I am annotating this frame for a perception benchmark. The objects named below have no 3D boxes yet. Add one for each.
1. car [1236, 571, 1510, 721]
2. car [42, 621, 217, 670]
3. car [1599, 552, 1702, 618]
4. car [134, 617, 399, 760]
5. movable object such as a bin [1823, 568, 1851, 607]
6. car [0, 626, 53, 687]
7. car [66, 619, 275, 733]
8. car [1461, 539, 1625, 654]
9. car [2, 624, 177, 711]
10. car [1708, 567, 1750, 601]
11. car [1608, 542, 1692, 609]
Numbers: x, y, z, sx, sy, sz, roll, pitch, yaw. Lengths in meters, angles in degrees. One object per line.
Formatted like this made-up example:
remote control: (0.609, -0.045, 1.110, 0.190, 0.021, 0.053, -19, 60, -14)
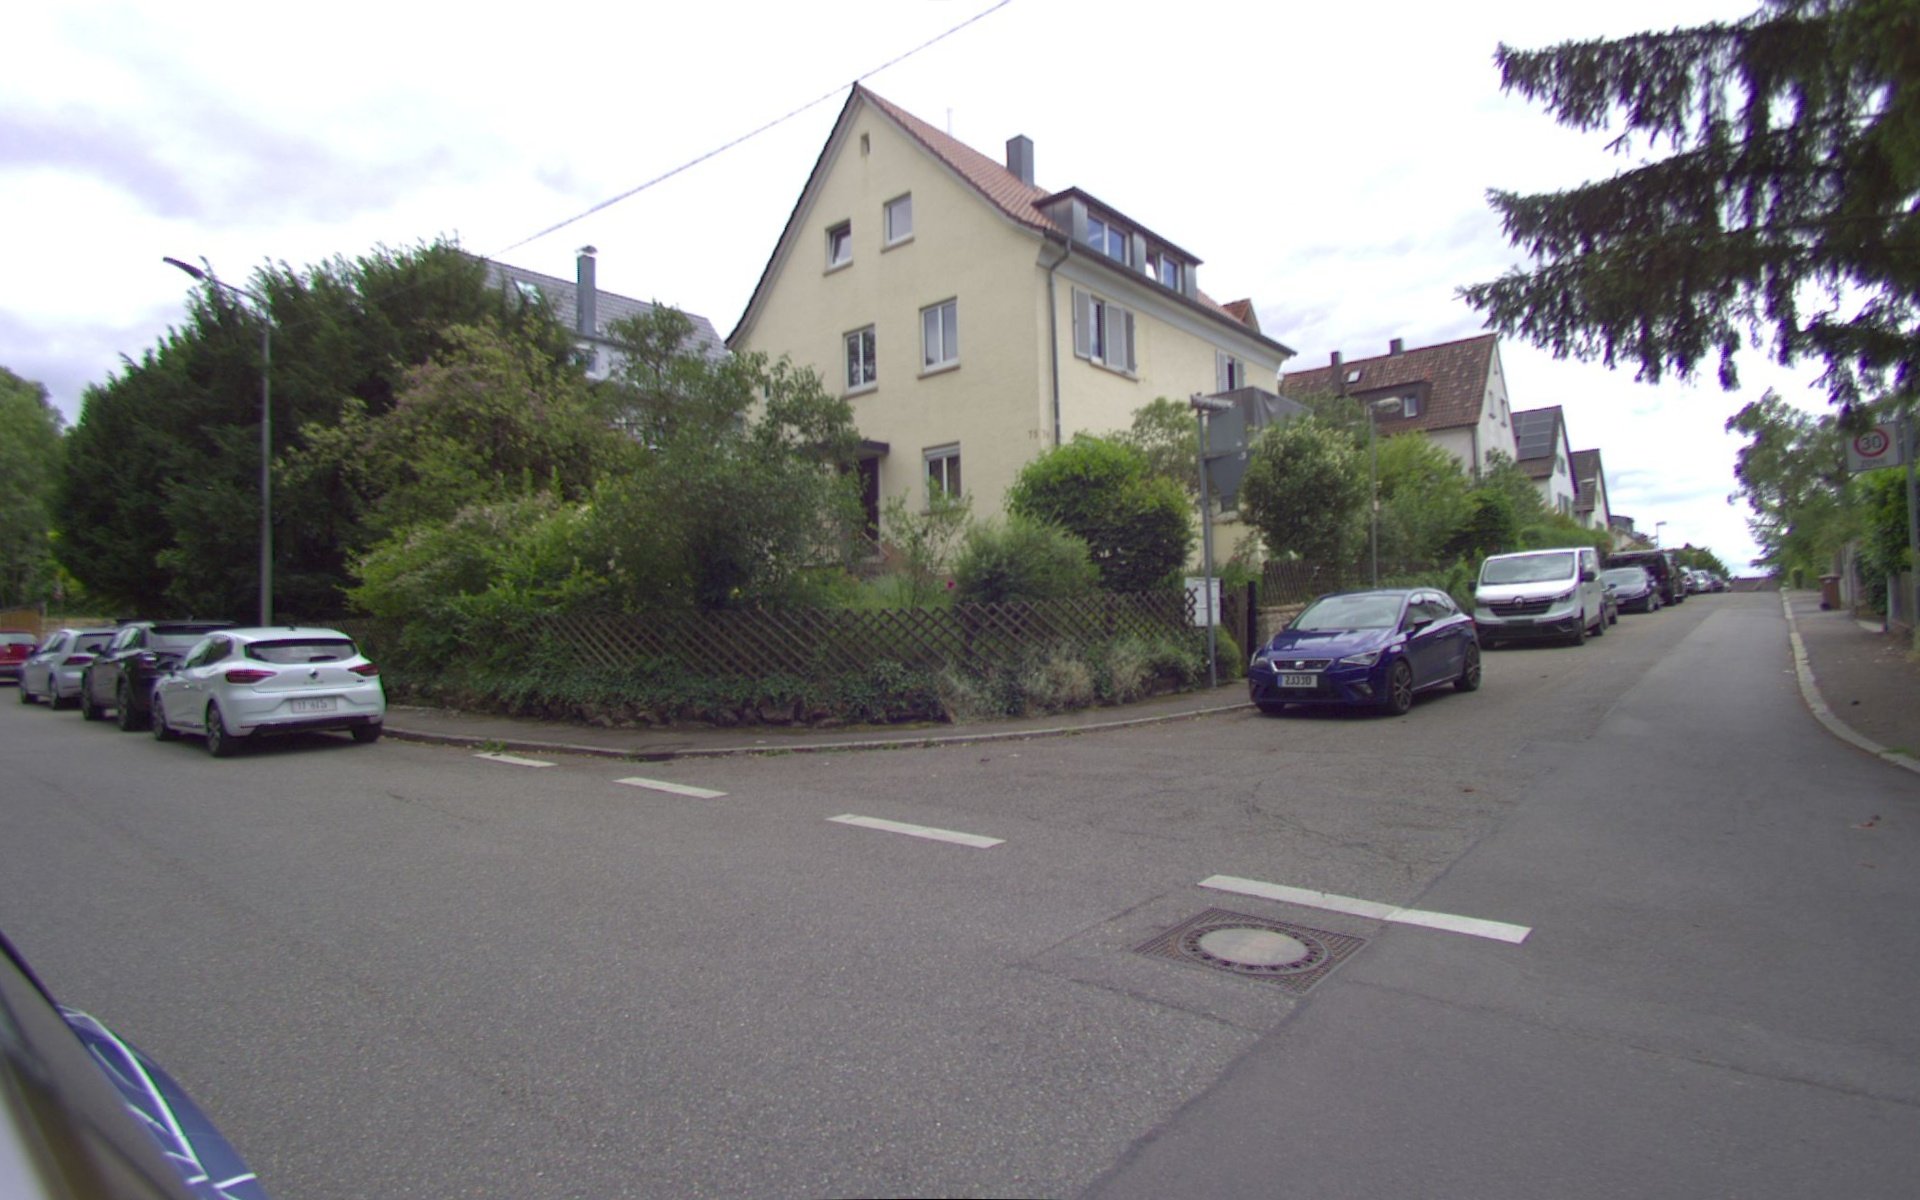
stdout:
car: (5.276, 0.479, 12.666, 3.942, 1.494, 1.723, -3, 0, -45)
car: (-29.854, 1.612, 36.492, 1.888, 1.397, 4.560, -3, 0, 39)
car: (20.466, -0.461, 29.942, 1.928, 1.669, 4.060, -7, -3, 41)
car: (-8.876, 1.007, 12.833, 4.011, 1.511, 1.765, -2, -1, 40)
movable object such as a bin: (23.077, -0.329, 26.631, 0.515, 0.995, 0.411, -2, 0, 41)
car: (-24.664, 1.425, 25.774, 3.782, 1.450, 1.720, -2, -1, 39)
car: (-12.296, 1.093, 15.682, 4.011, 1.511, 1.765, -2, -1, 40)
car: (12.282, -0.116, 21.162, 1.928, 2.013, 4.868, -7, -3, 41)
car: (-16.696, 1.227, 19.346, 4.318, 1.450, 1.766, -2, -1, 39)
car: (54.556, -1.144, 71.763, 1.928, 2.148, 4.060, -7, -3, 41)
car: (25.476, -0.911, 37.293, 1.928, 2.148, 4.060, -7, -3, 41)
